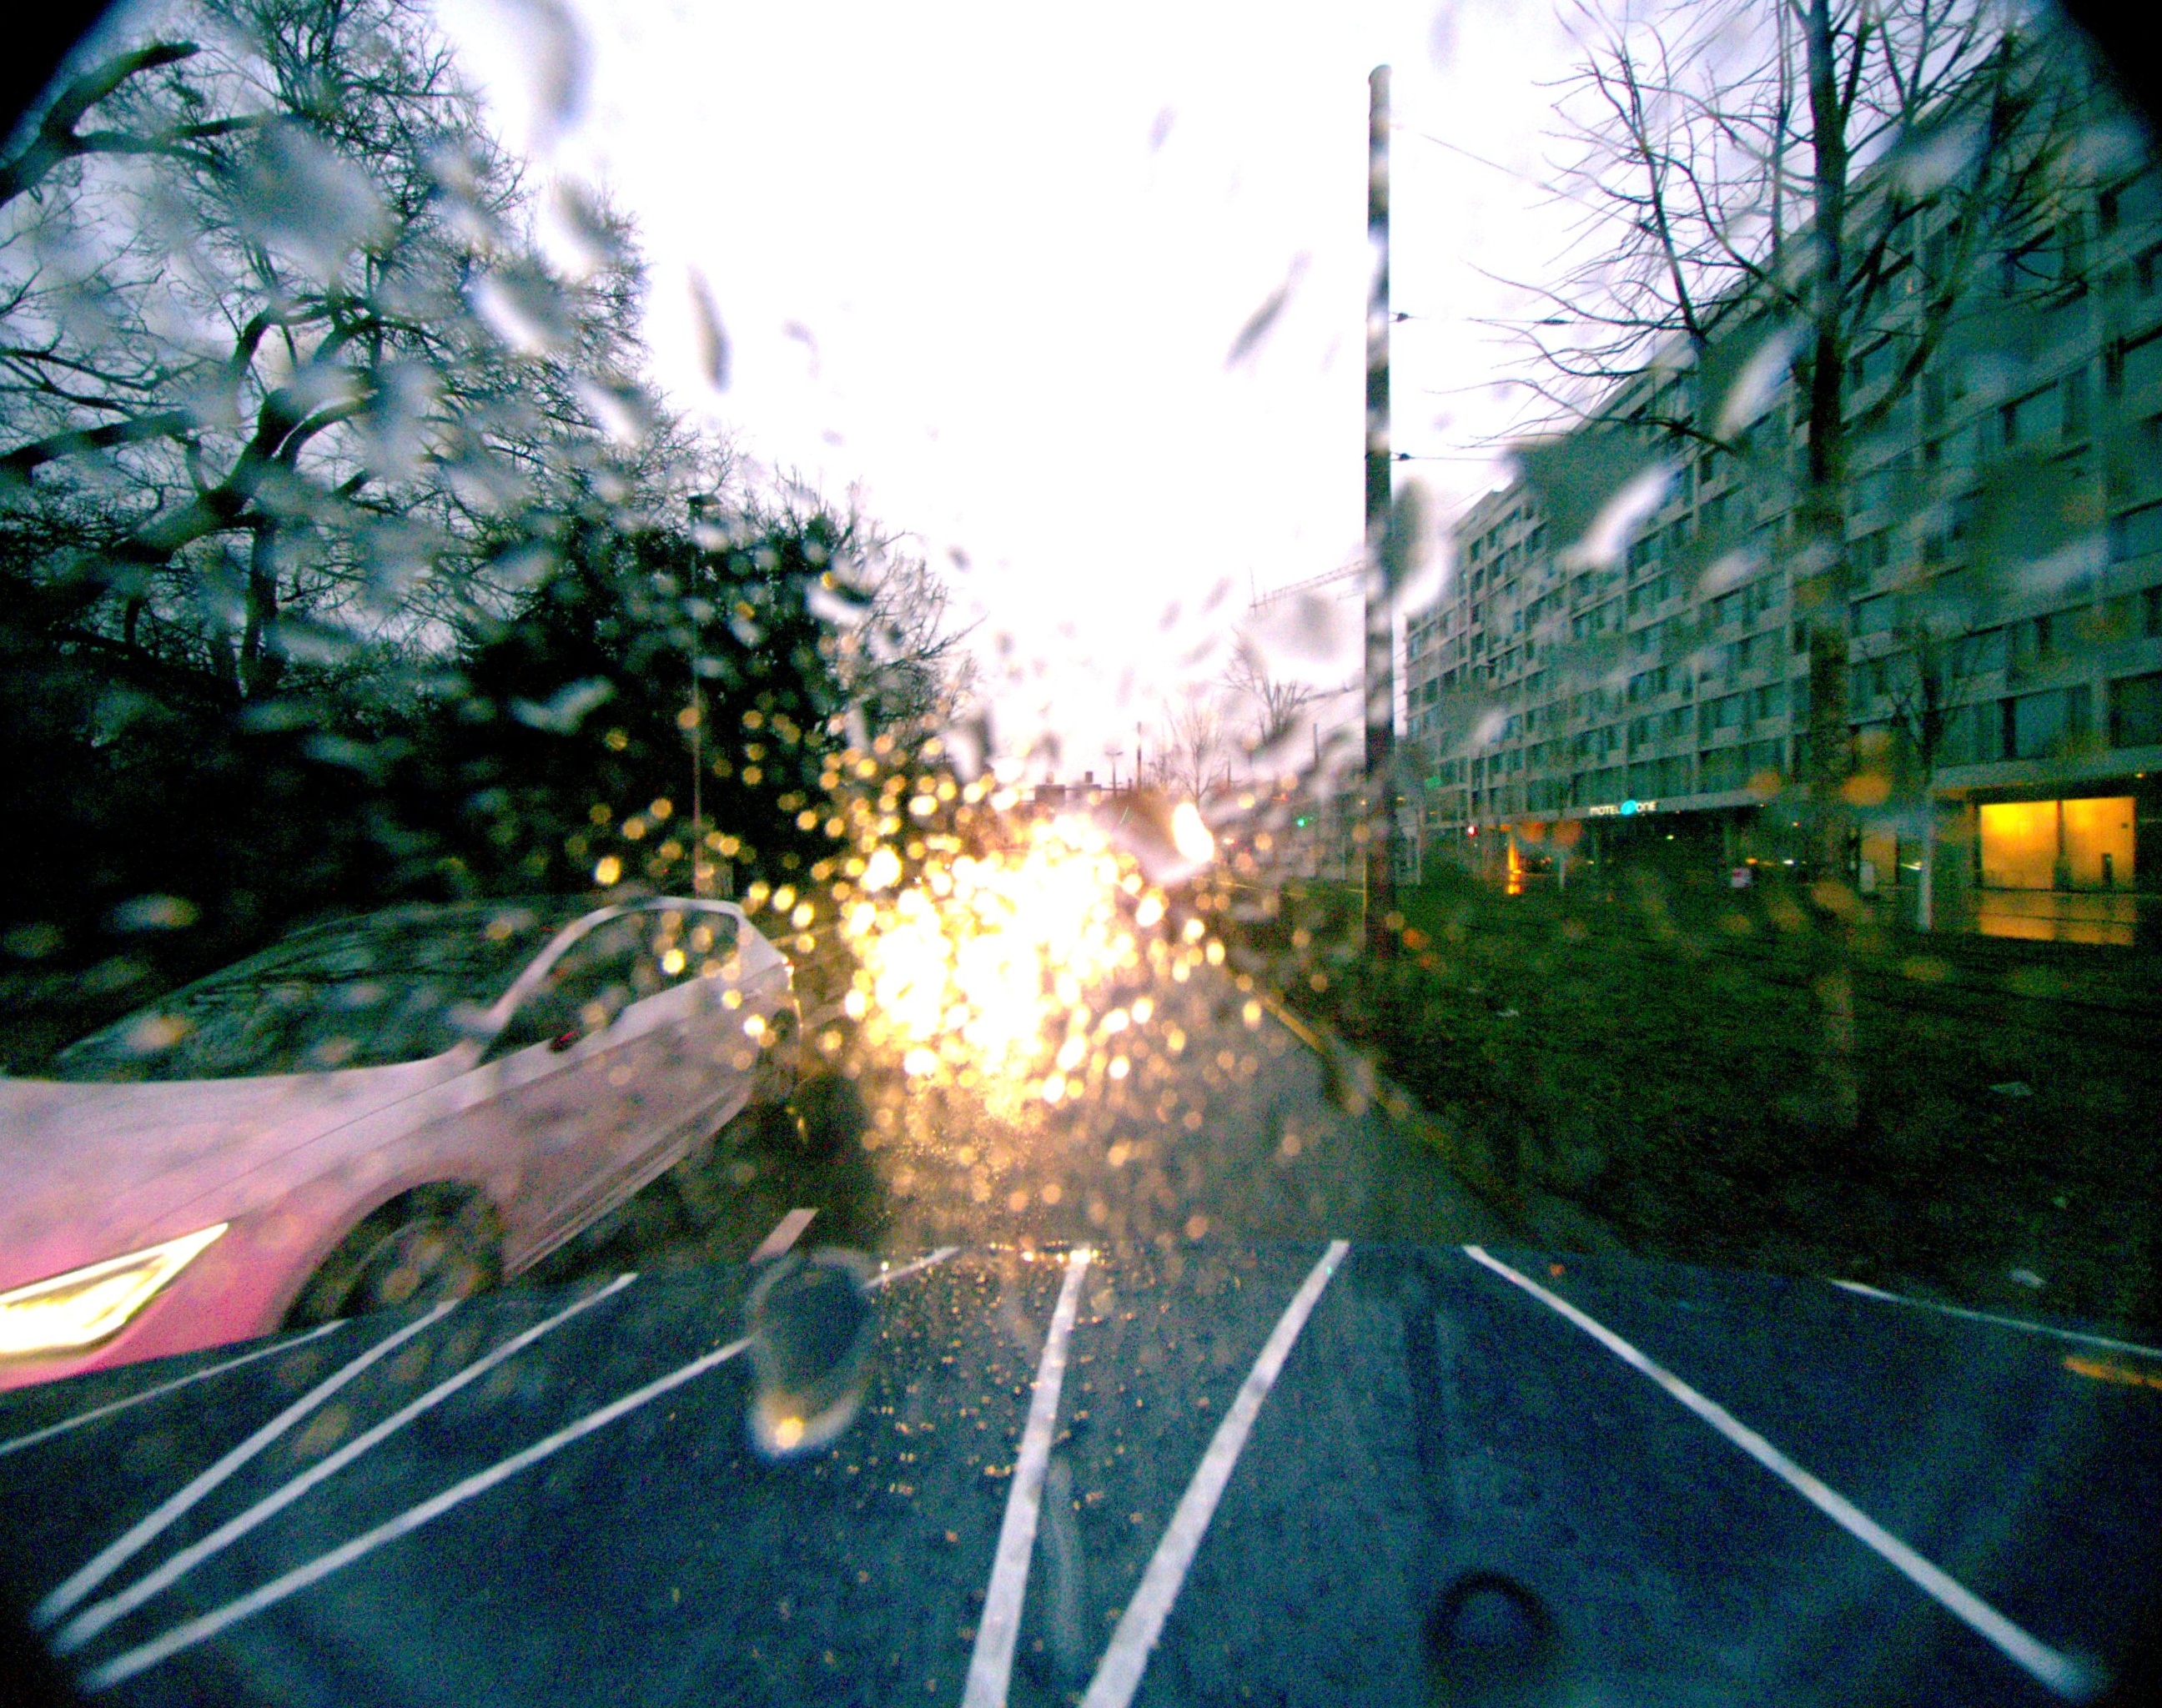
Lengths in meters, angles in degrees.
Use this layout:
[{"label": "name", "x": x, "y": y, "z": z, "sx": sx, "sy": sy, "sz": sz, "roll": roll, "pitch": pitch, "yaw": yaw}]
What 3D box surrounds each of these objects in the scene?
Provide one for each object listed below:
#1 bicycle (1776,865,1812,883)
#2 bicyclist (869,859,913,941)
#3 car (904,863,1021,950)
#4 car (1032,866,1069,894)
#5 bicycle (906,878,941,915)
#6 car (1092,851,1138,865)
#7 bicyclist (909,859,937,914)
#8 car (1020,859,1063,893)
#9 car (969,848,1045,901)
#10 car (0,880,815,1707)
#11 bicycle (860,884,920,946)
[{"label": "bicycle", "x": 36.311, "y": 0.999, "z": 38.698, "sx": 1.349, "sy": 0.849, "sz": 0.465, "roll": -2, "pitch": 1, "yaw": -1}, {"label": "bicyclist", "x": -5.346, "y": 1.269, "z": 21.451, "sx": 0.968, "sy": 2.210, "sz": 0.935, "roll": -2, "pitch": 1, "yaw": -4}, {"label": "car", "x": -2.600, "y": 1.109, "z": 17.739, "sx": 2.073, "sy": 1.618, "sz": 4.267, "roll": -2, "pitch": 0, "yaw": -1}, {"label": "car", "x": -1.925, "y": 1.653, "z": 49.142, "sx": 1.998, "sy": 1.618, "sz": 4.268, "roll": -1, "pitch": 0, "yaw": 3}, {"label": "bicycle", "x": -5.001, "y": 1.342, "z": 24.159, "sx": 0.691, "sy": 1.036, "sz": 1.721, "roll": -2, "pitch": 1, "yaw": 1}, {"label": "car", "x": 3.957, "y": 0.447, "z": 88.895, "sx": 5.048, "sy": 1.659, "sz": 2.085, "roll": 0, "pitch": 0, "yaw": -19}, {"label": "bicyclist", "x": -5.016, "y": 1.026, "z": 24.177, "sx": 0.691, "sy": 1.675, "sz": 0.593, "roll": -2, "pitch": 1, "yaw": 1}, {"label": "car", "x": -2.115, "y": 1.175, "z": 41.516, "sx": 1.998, "sy": 1.618, "sz": 4.268, "roll": -2, "pitch": 0, "yaw": 1}, {"label": "car", "x": -2.480, "y": 0.635, "z": 26.566, "sx": 2.073, "sy": 1.618, "sz": 4.268, "roll": -2, "pitch": 0, "yaw": 1}, {"label": "car", "x": -2.782, "y": 0.953, "z": 3.057, "sx": 1.886, "sy": 1.552, "sz": 4.171, "roll": 0, "pitch": 0, "yaw": 1}, {"label": "bicycle", "x": -5.319, "y": 1.651, "z": 21.460, "sx": 0.968, "sy": 1.442, "sz": 3.388, "roll": -2, "pitch": 1, "yaw": -4}]
